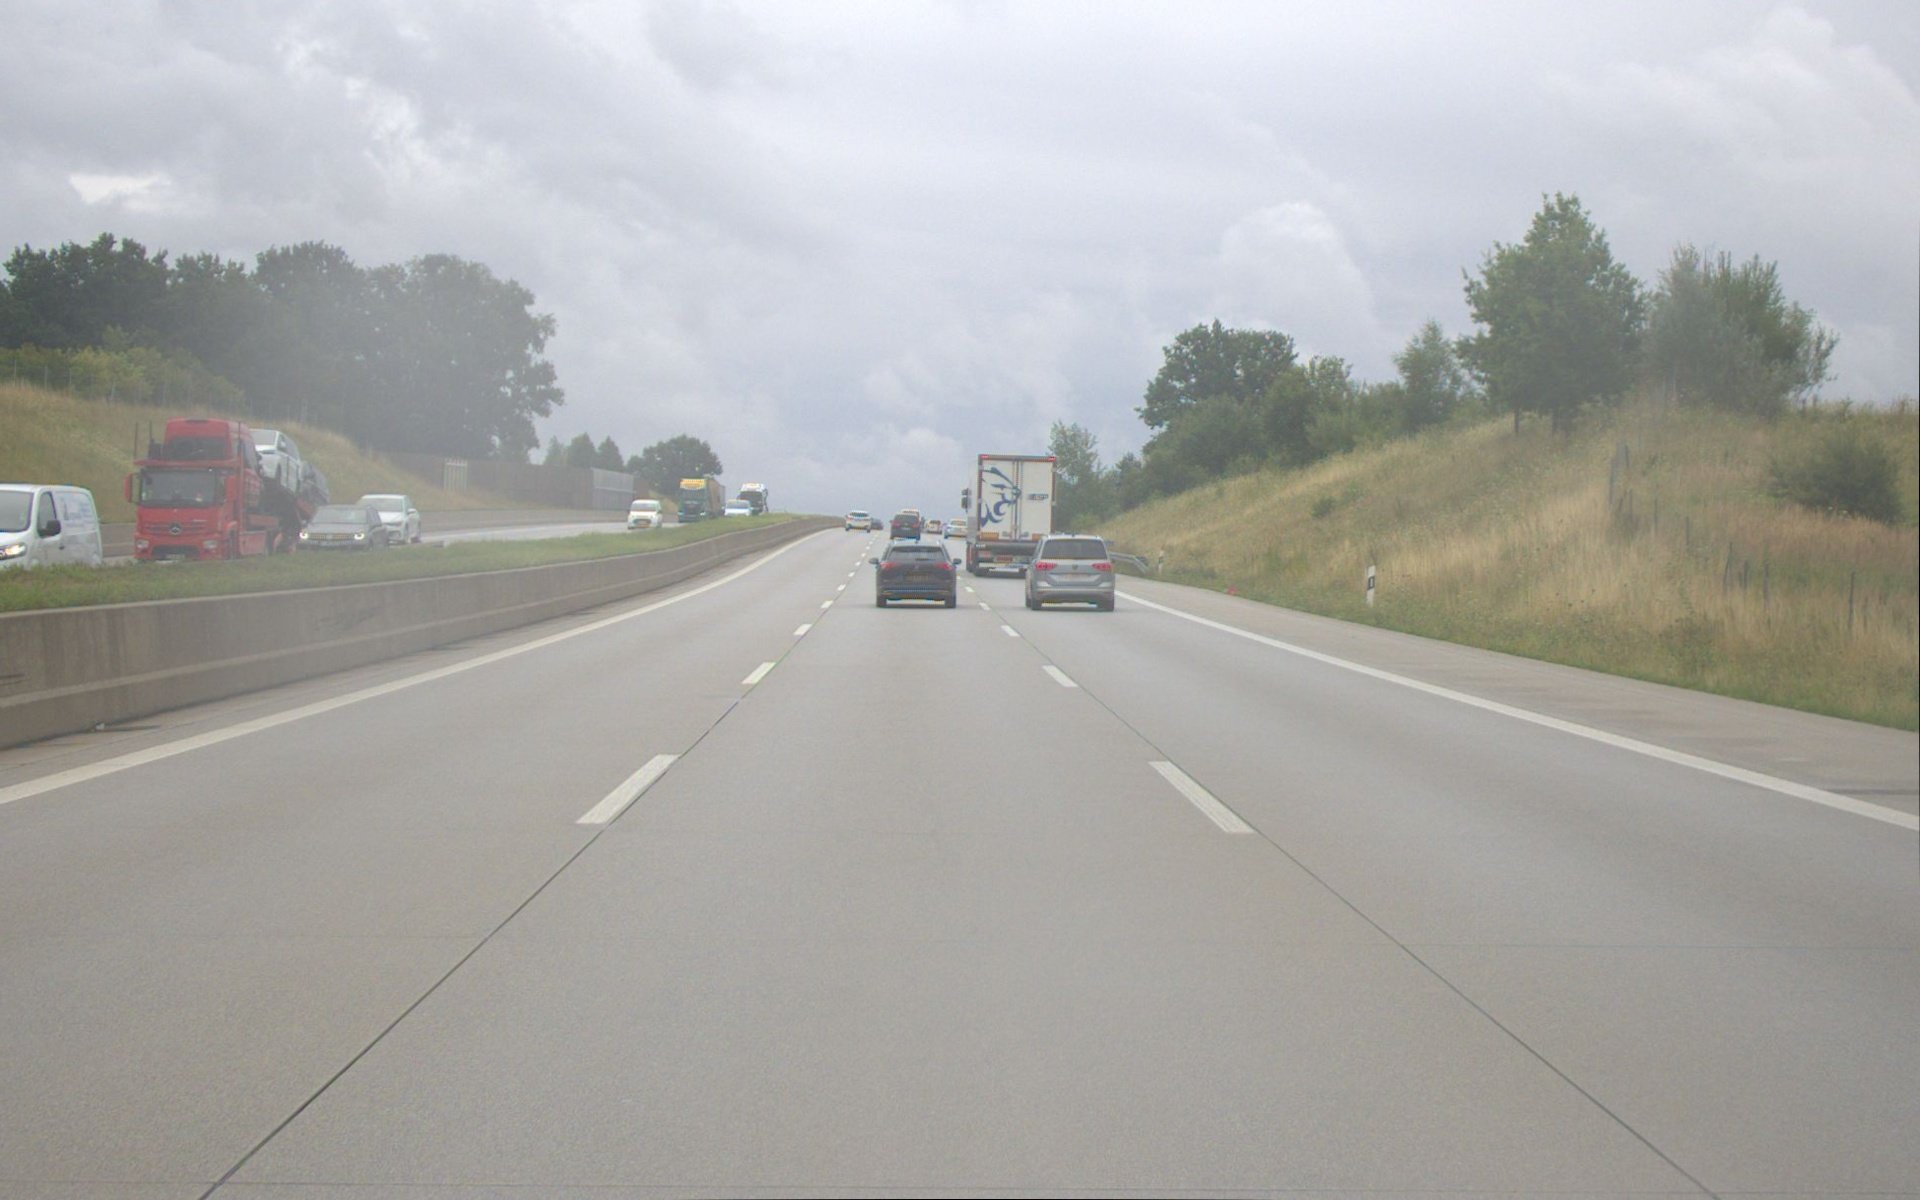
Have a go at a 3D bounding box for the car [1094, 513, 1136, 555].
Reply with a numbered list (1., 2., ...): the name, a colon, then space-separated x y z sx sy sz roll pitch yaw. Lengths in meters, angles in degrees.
1. car: 7.634 -3.241 169.695 1.993 2.007 4.000 1 1 1

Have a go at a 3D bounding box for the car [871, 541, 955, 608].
1. car: -1.051 -0.547 75.217 1.752 1.393 4.484 1 0 -2

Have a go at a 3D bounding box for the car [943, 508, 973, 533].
1. car: -0.134 -5.621 243.137 1.993 1.634 4.000 1 1 1

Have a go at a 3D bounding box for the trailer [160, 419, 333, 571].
1. trailer: -21.192 -3.051 102.952 2.552 4.203 13.990 1 1 -1

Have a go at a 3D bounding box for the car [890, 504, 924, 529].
1. car: -3.248 -5.128 211.969 1.935 1.370 4.594 1 0 1

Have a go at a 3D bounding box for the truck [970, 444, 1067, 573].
1. truck: 1.927 -3.028 116.460 3.017 4.166 8.354 1 1 -1

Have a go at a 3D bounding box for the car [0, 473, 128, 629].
1. car: -12.341 -0.667 44.318 1.993 1.880 5.513 1 1 -1

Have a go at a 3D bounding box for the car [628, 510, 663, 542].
1. car: -18.729 -4.427 204.751 1.762 1.853 4.000 1 1 -1

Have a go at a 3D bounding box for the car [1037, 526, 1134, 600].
1. car: 2.675 -0.805 73.967 1.993 1.525 4.000 1 1 1

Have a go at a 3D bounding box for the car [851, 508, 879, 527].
1. car: -6.966 -6.073 252.307 1.947 1.351 4.259 1 1 0

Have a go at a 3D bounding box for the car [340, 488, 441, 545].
1. car: -16.686 -2.466 100.890 2.148 1.546 5.350 1 2 -1

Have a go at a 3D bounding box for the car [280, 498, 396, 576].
1. car: -16.704 -1.684 92.595 2.148 2.007 5.749 1 1 -1

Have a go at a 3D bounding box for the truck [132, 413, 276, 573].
1. truck: -21.055 -2.937 96.124 2.552 4.237 7.465 1 1 -2
